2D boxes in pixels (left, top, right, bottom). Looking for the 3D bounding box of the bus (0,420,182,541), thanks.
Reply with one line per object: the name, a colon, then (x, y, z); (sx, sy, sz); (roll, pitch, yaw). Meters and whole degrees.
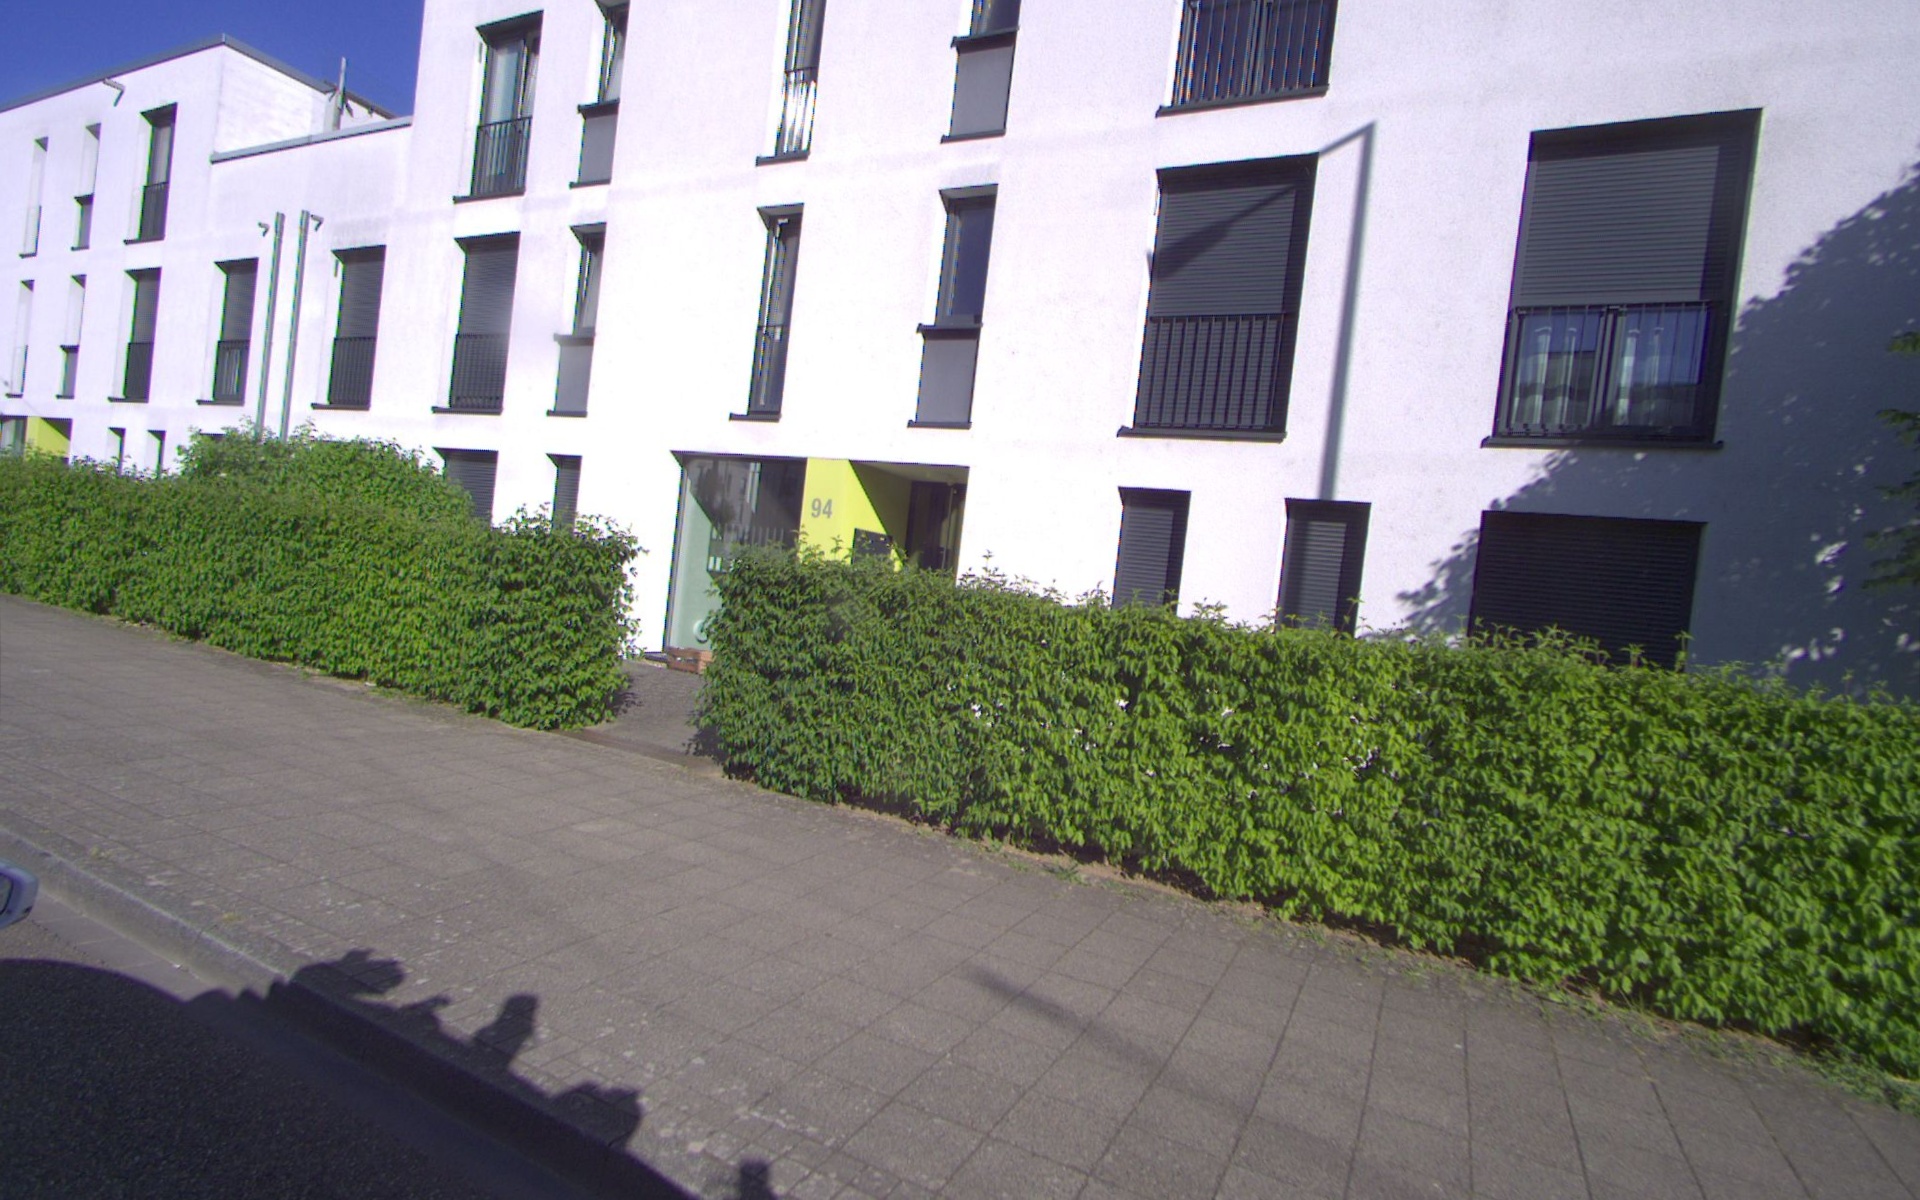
bus: (-37.048, -5.005, 36.886); (2.794, 3.713, 14.698); (8, -1, 13)
